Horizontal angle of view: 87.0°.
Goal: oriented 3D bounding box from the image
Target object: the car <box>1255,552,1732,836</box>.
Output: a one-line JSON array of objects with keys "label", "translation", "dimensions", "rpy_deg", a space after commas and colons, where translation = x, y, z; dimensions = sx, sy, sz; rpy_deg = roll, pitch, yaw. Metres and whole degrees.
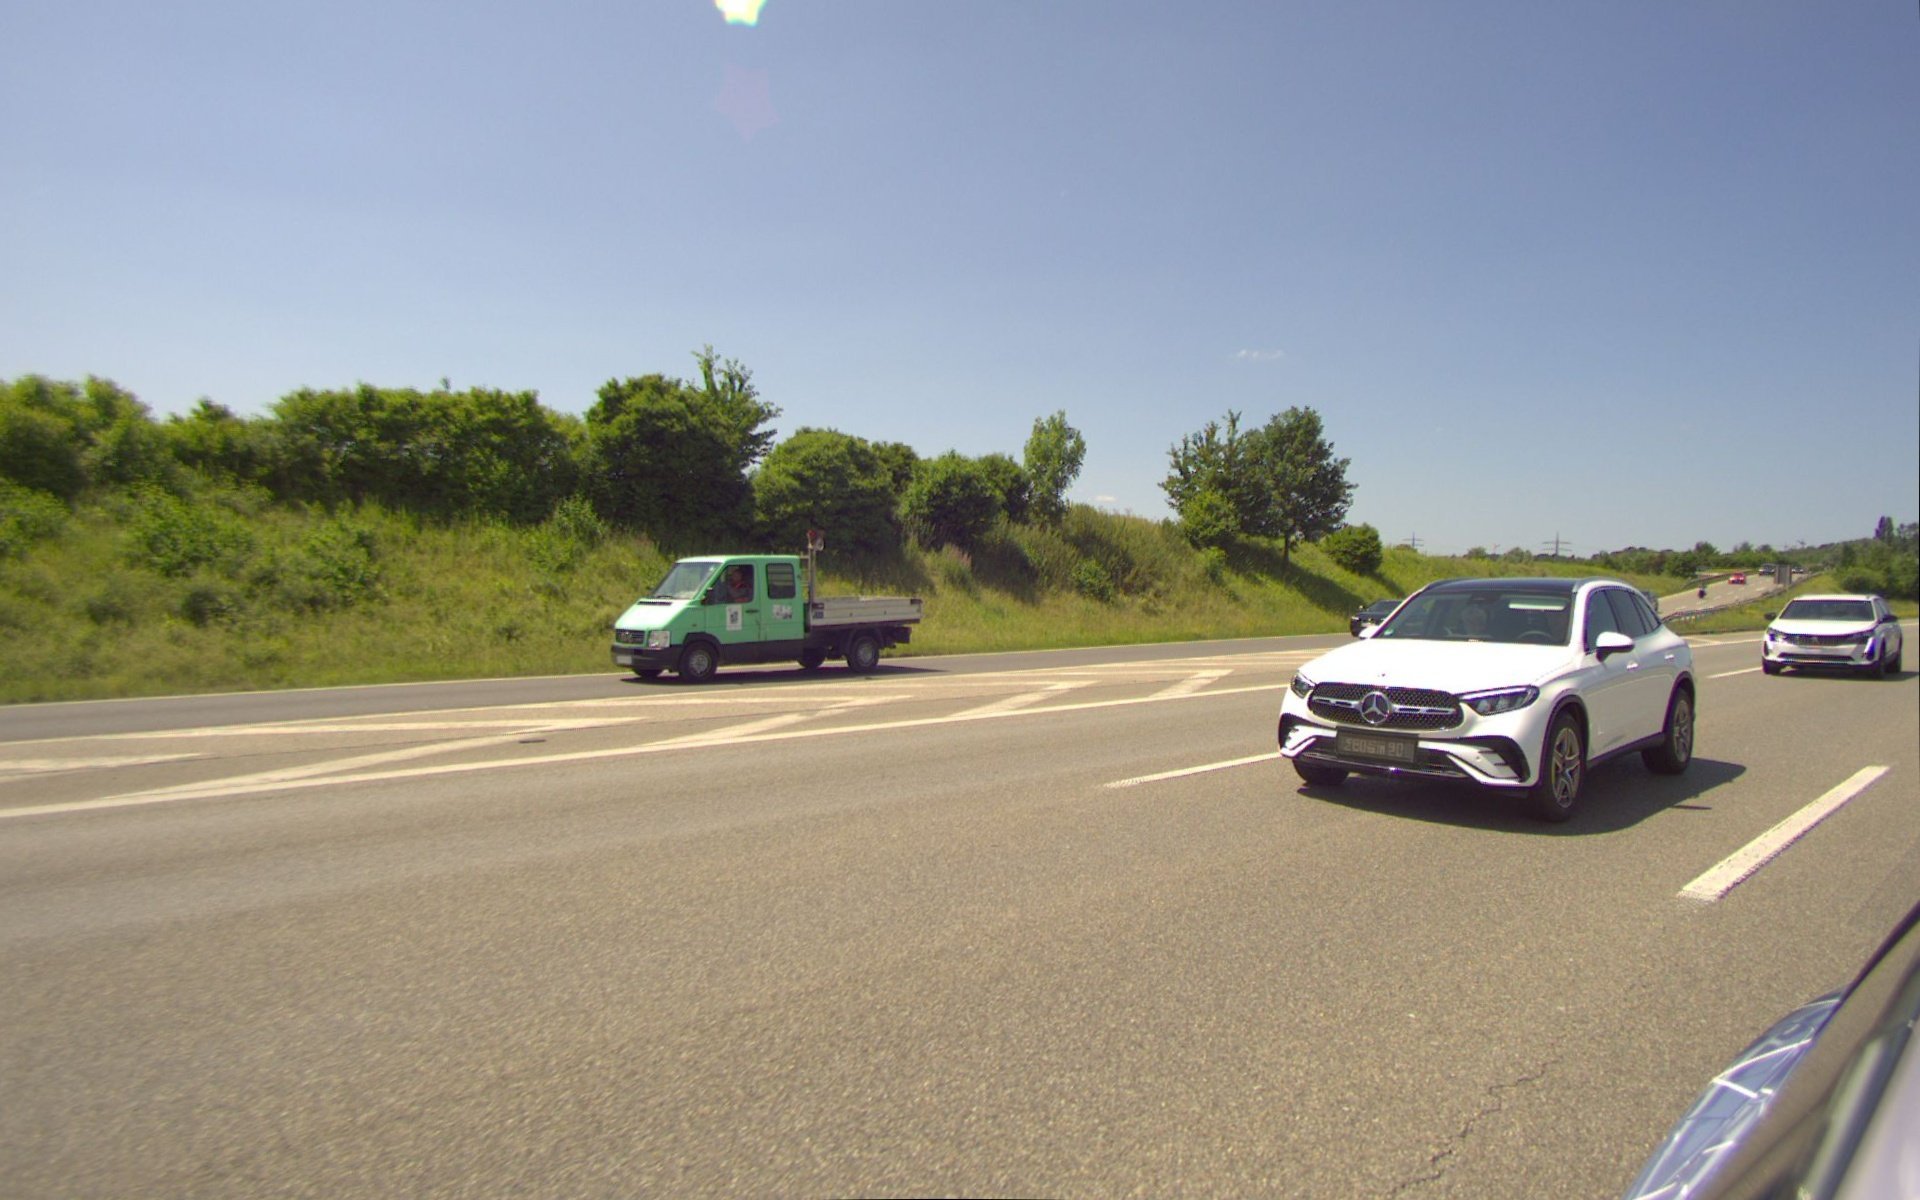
[{"label": "car", "translation": [4.498, 0.524, 8.189], "dimensions": [4.556, 1.676, 1.908], "rpy_deg": [-1, 0, -41]}]

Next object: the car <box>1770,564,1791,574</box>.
[{"label": "car", "translation": [131.910, -4.950, 162.727], "dimensions": [4.539, 1.650, 1.980], "rpy_deg": [-1, 1, -43]}]

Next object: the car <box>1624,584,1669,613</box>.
[{"label": "car", "translation": [50.501, -0.100, 74.395], "dimensions": [3.935, 2.039, 1.994], "rpy_deg": [-2, 1, -44]}]

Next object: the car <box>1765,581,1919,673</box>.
[{"label": "car", "translation": [18.146, 0.471, 20.685], "dimensions": [4.538, 1.650, 1.896], "rpy_deg": [-1, 1, -42]}]

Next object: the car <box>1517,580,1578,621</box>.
[{"label": "car", "translation": [32.724, 0.010, 56.317], "dimensions": [1.992, 2.199, 4.819], "rpy_deg": [1, 1, 42]}]

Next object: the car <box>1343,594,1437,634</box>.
[{"label": "car", "translation": [16.409, 0.482, 38.530], "dimensions": [1.993, 1.400, 4.231], "rpy_deg": [1, 1, 42]}]

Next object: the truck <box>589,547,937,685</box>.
[{"label": "truck", "translation": [-3.362, 0.198, 18.401], "dimensions": [6.017, 2.118, 2.166], "rpy_deg": [0, 1, -44]}]
